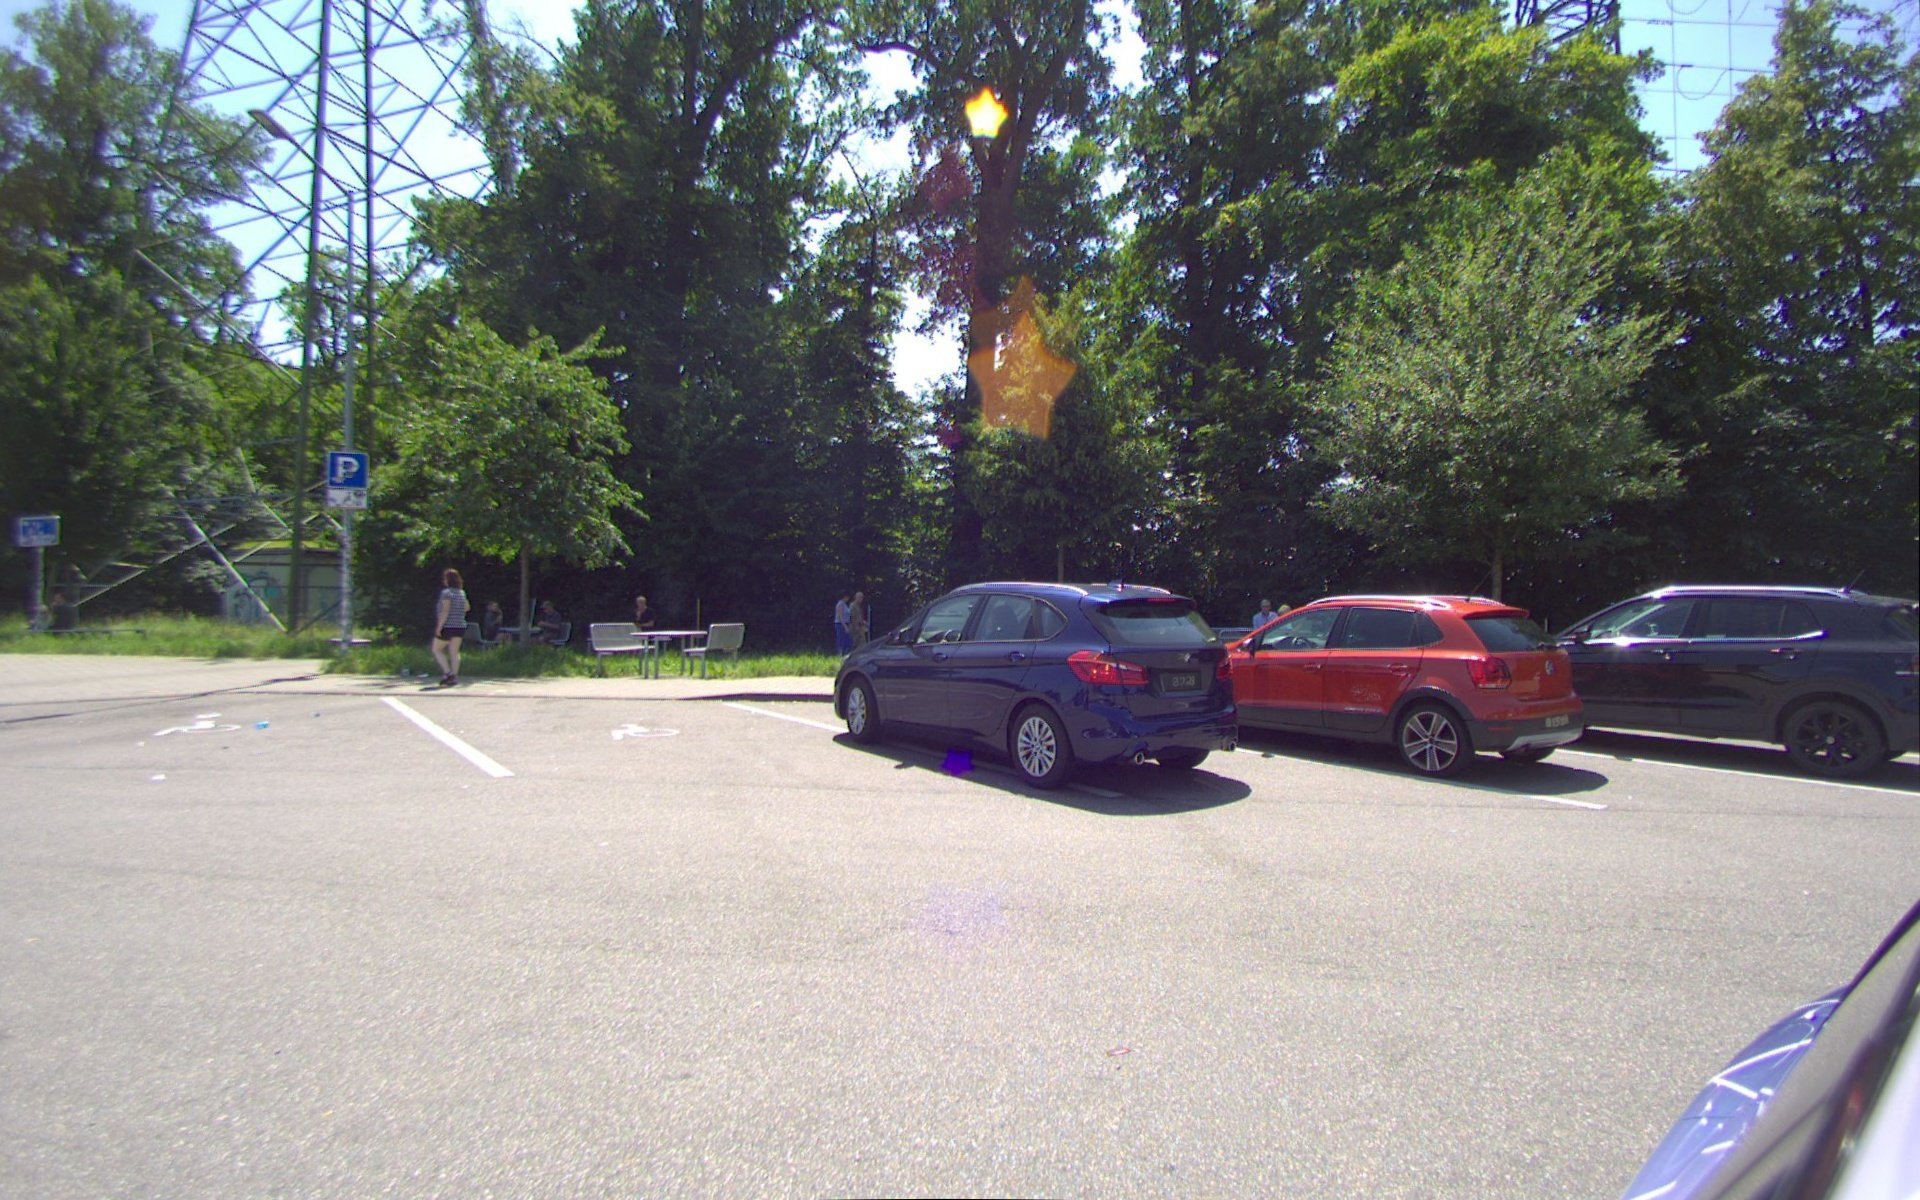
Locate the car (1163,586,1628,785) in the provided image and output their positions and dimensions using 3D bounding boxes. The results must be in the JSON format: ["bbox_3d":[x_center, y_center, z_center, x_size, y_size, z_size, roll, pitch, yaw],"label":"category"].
[{"bbox_3d":[3.884,0.627,9.650,1.619,1.487,3.830,0,0,-33],"label":"car"}]

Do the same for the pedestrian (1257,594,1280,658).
[{"bbox_3d":[5.823,0.485,19.127,0.350,1.180,0.384,0,0,8],"label":"pedestrian"}]

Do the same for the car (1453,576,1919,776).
[{"bbox_3d":[7.100,0.585,9.866,1.620,1.575,3.826,0,0,-37],"label":"car"}]

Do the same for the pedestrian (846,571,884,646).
[{"bbox_3d":[-2.110,0.182,22.556,0.568,1.625,0.640,0,0,32],"label":"pedestrian"}]

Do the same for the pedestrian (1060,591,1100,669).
[{"bbox_3d":[2.007,0.487,16.858,0.586,1.261,0.498,0,0,16],"label":"pedestrian"}]

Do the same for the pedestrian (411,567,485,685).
[{"bbox_3d":[-7.480,0.367,14.794,0.703,1.670,0.686,0,0,8],"label":"pedestrian"}]

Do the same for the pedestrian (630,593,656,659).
[{"bbox_3d":[-6.682,0.540,21.348,0.438,1.363,0.462,0,0,-5],"label":"pedestrian"}]

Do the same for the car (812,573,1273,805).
[{"bbox_3d":[0.470,0.561,9.141,1.716,1.572,4.343,0,1,-37],"label":"car"}]

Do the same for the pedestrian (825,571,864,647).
[{"bbox_3d":[-2.510,0.190,21.944,0.568,1.625,0.640,0,0,32],"label":"pedestrian"}]

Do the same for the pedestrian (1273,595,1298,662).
[{"bbox_3d":[5.775,0.497,17.952,0.350,1.180,0.384,0,0,8],"label":"pedestrian"}]

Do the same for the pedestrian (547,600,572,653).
[{"bbox_3d":[-9.341,0.610,23.601,0.452,1.209,0.447,0,0,-34],"label":"pedestrian"}]

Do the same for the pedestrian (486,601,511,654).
[{"bbox_3d":[-10.429,0.609,22.860,0.452,1.182,0.447,0,0,-34],"label":"pedestrian"}]

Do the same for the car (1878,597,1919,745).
[{"bbox_3d":[10.900,0.694,9.011,1.620,1.420,3.826,0,0,-37],"label":"car"}]

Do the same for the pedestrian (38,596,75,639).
[{"bbox_3d":[-20.947,0.393,23.461,0.452,0.987,0.447,0,0,-2],"label":"pedestrian"}]

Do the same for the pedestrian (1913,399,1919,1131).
[{"bbox_3d":[3.184,0.443,2.692,0.904,1.974,0.813,0,0,-38],"label":"pedestrian"}]
